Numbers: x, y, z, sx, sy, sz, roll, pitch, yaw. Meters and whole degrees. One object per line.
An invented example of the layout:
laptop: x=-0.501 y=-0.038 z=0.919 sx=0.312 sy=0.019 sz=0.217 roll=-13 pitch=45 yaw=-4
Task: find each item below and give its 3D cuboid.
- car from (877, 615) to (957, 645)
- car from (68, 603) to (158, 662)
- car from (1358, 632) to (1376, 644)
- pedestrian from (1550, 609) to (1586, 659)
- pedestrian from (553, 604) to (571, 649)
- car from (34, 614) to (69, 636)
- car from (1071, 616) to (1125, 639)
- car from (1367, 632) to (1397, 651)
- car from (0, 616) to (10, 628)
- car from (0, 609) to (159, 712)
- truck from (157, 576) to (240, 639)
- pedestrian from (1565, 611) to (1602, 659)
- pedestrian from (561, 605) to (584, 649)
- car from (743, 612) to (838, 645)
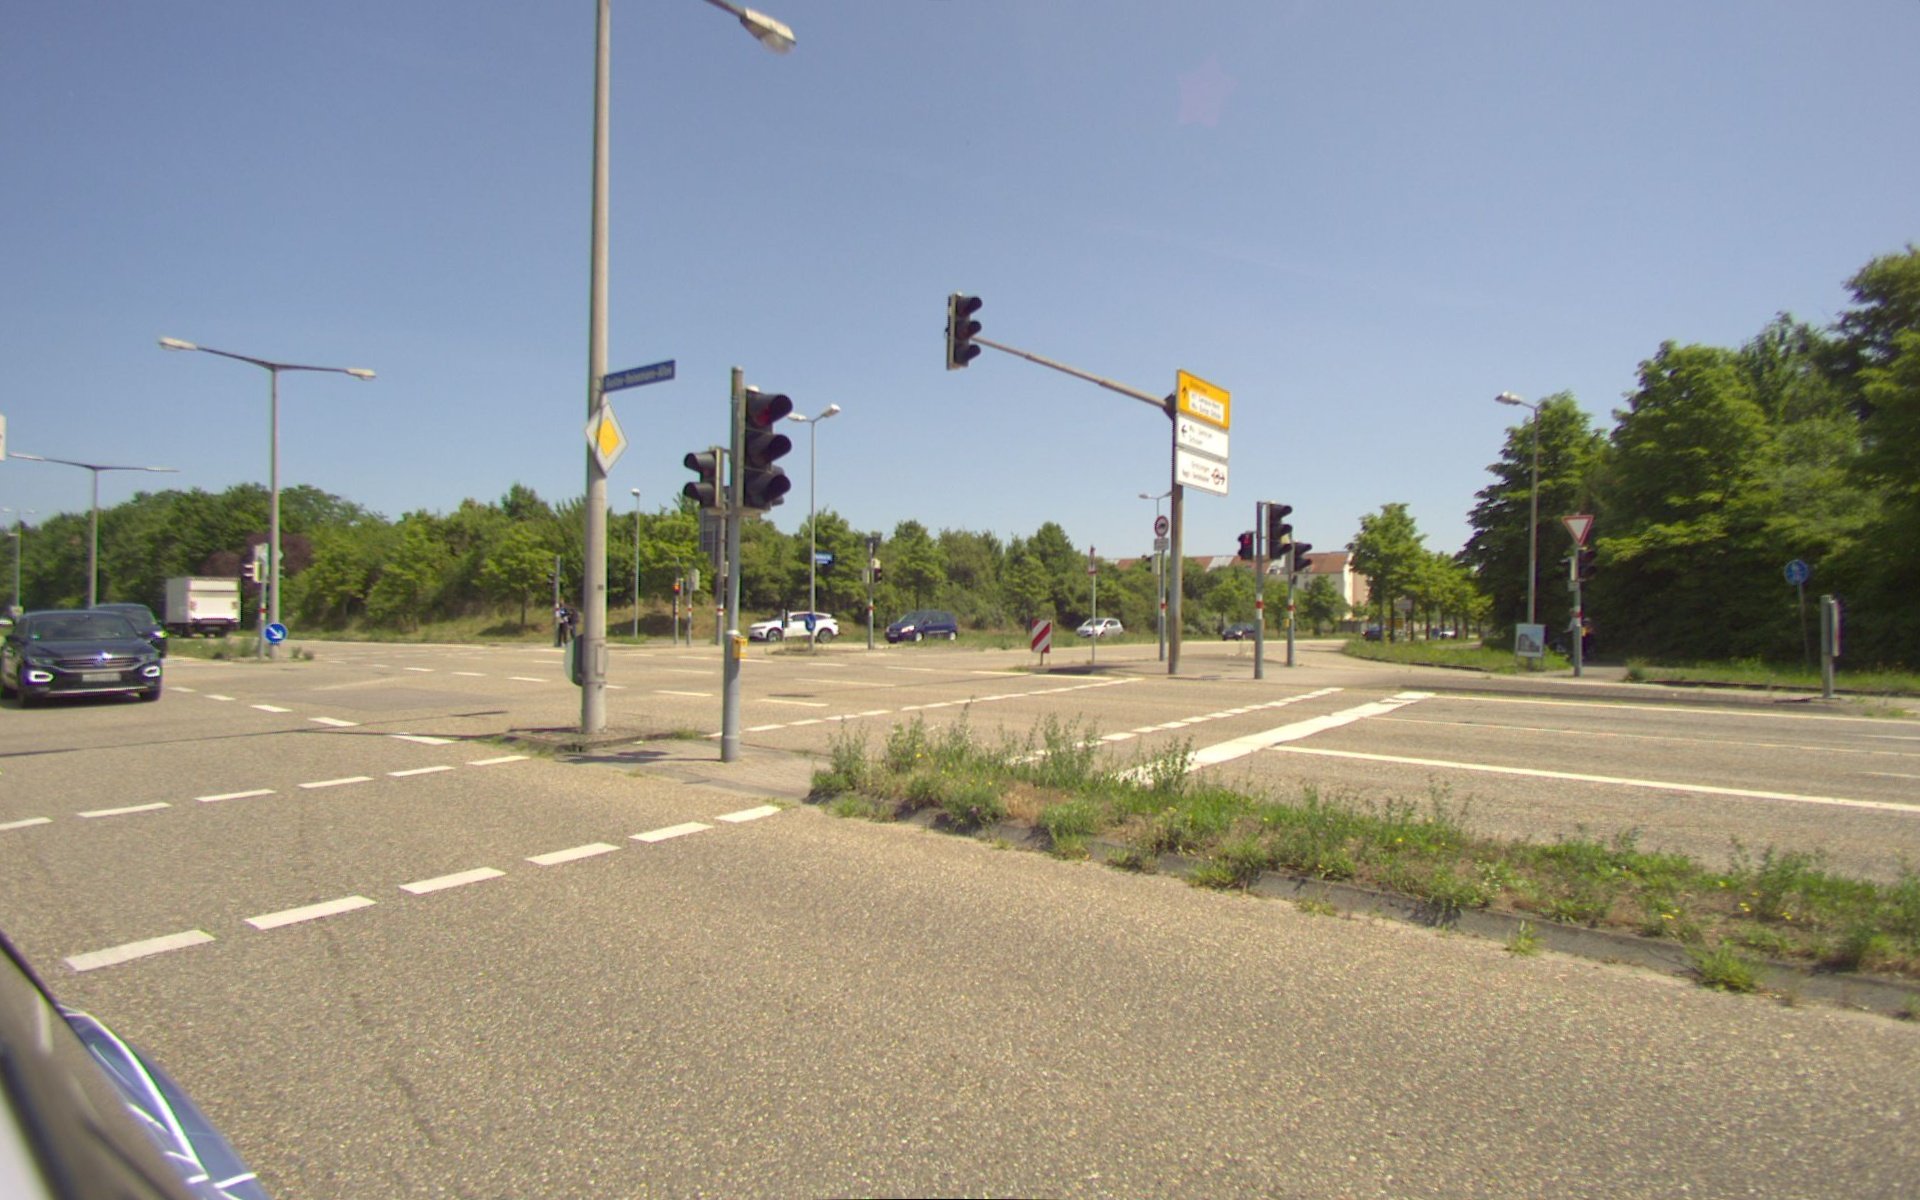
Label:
car: x=-1.996 y=1.416 z=48.304 sx=1.701 sy=1.346 sz=3.949 roll=-1 pitch=-2 yaw=37
car: x=-27.940 y=1.041 z=33.347 sx=4.321 sy=1.840 sz=1.712 roll=-1 pitch=-1 yaw=42
car: x=47.843 y=4.463 z=118.994 sx=1.289 sy=1.133 sz=3.172 roll=0 pitch=1 yaw=35
pedestrian: x=19.843 y=1.114 z=33.030 sx=0.789 sy=1.615 sz=0.616 roll=0 pitch=-1 yaw=6
pedestrian: x=-15.612 y=1.020 z=39.694 sx=0.573 sy=1.749 sz=0.795 roll=0 pitch=-1 yaw=-29
car: x=-73.541 y=2.022 z=81.939 sx=4.222 sy=1.676 sz=1.688 roll=-1 pitch=-2 yaw=43
car: x=8.603 y=1.725 z=62.918 sx=1.630 sy=1.371 sz=3.951 roll=-1 pitch=-2 yaw=36
car: x=33.961 y=3.299 z=81.420 sx=1.734 sy=1.431 sz=3.960 roll=-1 pitch=-2 yaw=29
car: x=-125.637 y=2.875 z=132.219 sx=4.165 sy=1.467 sz=1.804 roll=-1 pitch=-1 yaw=40
car: x=-15.094 y=0.935 z=17.174 sx=3.970 sy=1.523 sz=1.716 roll=-1 pitch=0 yaw=42
truck: x=-46.488 y=0.499 z=61.690 sx=7.265 sy=3.597 sz=2.659 roll=-1 pitch=-1 yaw=42
pedestrian: x=19.726 y=1.097 z=32.009 sx=0.789 sy=1.515 sz=0.616 roll=0 pitch=-1 yaw=6
pedestrian: x=-14.972 y=1.036 z=39.065 sx=0.712 sy=1.712 sz=0.777 roll=0 pitch=-1 yaw=-29
car: x=-8.379 y=1.452 z=50.076 sx=4.238 sy=1.513 sz=1.883 roll=2 pitch=-5 yaw=-36
